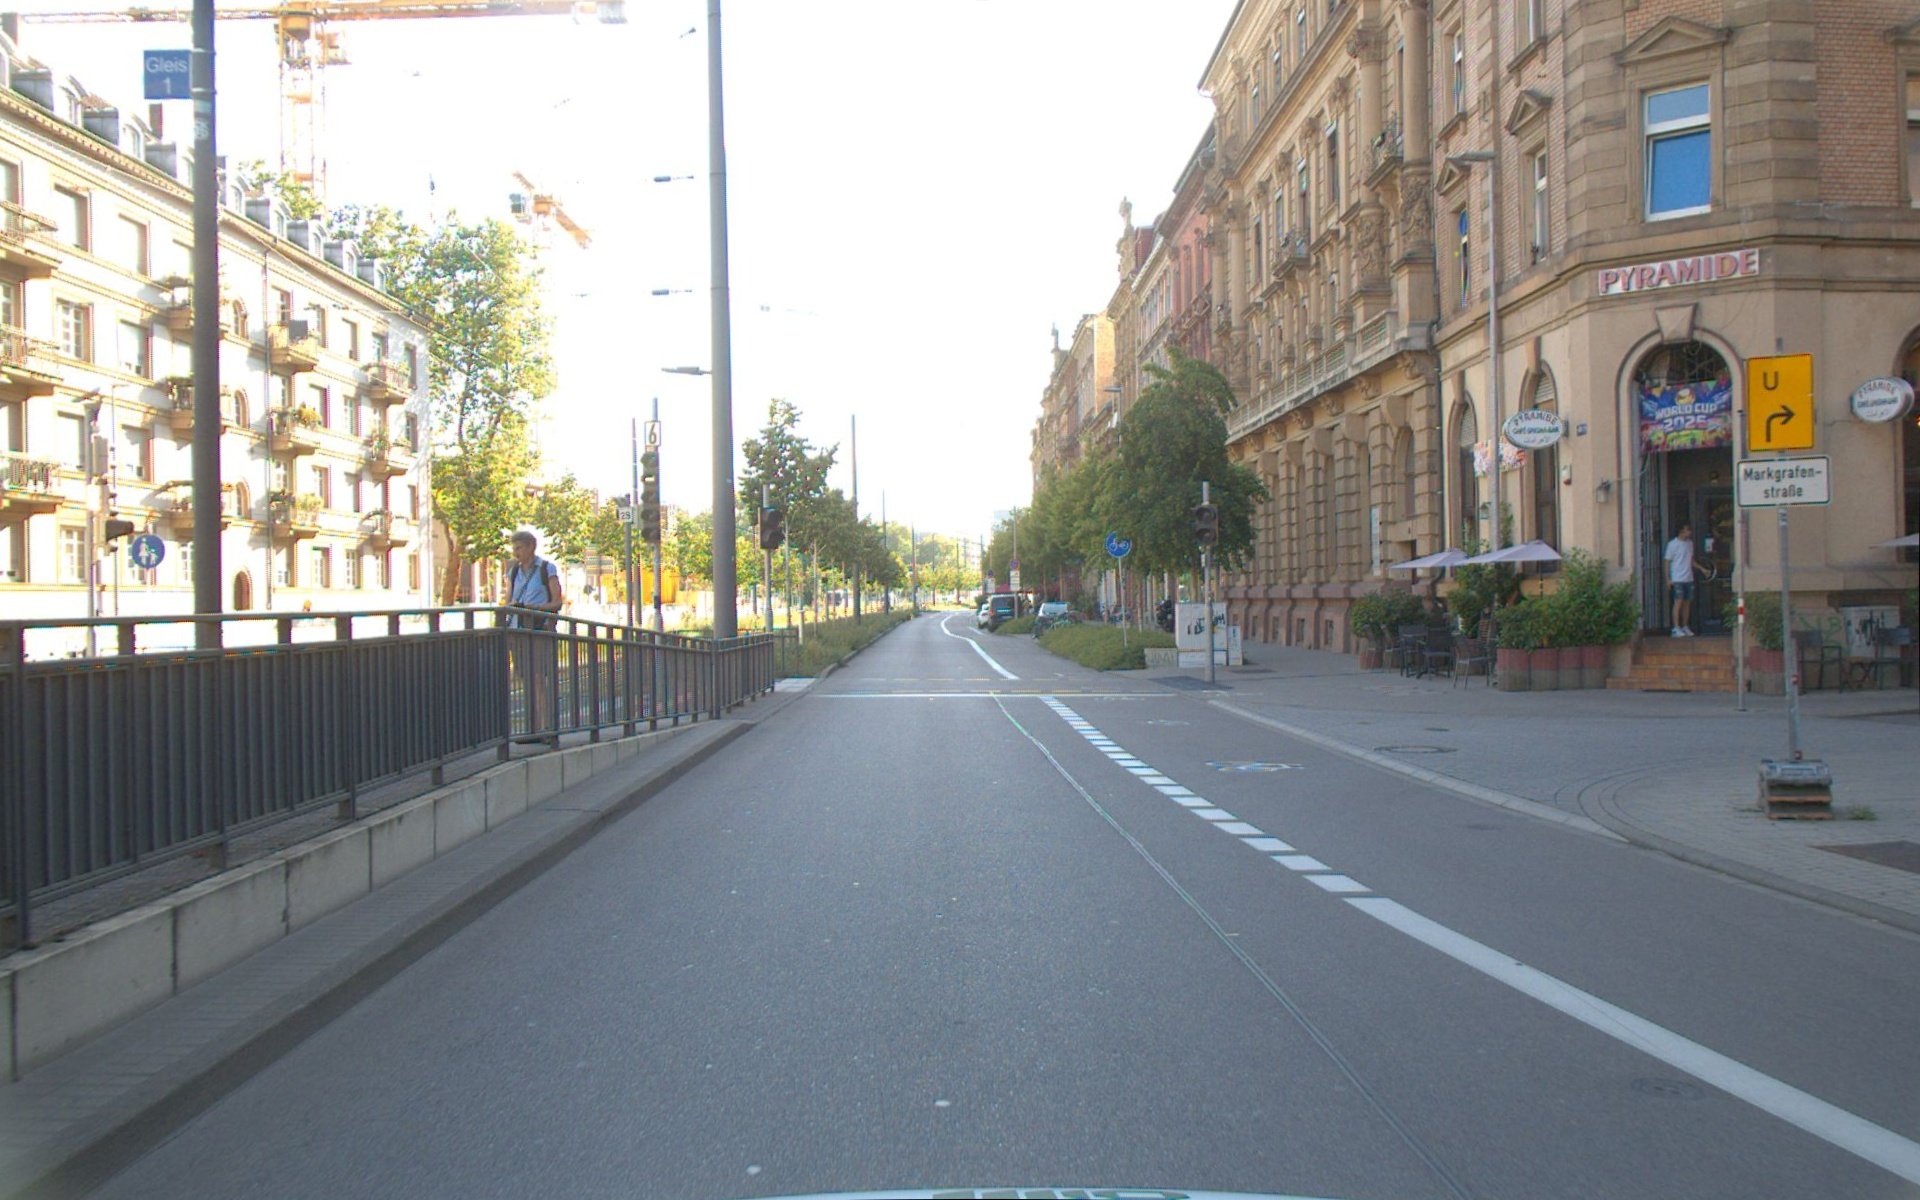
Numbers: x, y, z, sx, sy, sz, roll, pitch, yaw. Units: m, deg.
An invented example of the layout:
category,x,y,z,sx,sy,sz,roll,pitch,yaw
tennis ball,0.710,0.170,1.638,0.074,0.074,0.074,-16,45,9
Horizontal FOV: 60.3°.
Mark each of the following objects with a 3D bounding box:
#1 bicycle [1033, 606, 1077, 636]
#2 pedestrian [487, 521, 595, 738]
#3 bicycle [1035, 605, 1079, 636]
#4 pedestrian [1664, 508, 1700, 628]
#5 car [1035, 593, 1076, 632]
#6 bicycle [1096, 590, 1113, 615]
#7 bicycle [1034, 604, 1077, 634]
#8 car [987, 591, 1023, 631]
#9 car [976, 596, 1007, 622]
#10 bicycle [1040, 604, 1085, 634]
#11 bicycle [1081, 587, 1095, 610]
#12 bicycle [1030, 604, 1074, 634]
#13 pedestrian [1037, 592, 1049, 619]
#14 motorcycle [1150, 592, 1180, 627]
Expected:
category,x,y,z,sx,sy,sz,roll,pitch,yaw
bicycle,3.857,0.839,67.174,1.657,1.066,0.489,-5,0,-1
pedestrian,-3.350,0.234,13.269,0.641,1.671,0.867,-1,-1,-1
bicycle,3.688,0.773,62.931,1.547,1.066,0.488,-3,0,-9
pedestrian,10.916,-0.479,24.996,0.437,1.771,0.542,-1,0,27
car,4.169,0.508,72.755,1.603,1.511,4.213,-3,1,1
bicycle,8.360,0.132,95.834,0.647,1.427,2.352,-2,1,-2
bicycle,3.737,0.737,64.760,1.547,1.066,0.488,-3,0,-9
car,2.406,0.565,89.184,1.846,1.971,4.473,-2,1,0
car,1.935,0.558,102.782,1.811,1.483,4.157,-2,1,0
bicycle,3.977,0.740,64.228,1.660,1.066,0.488,-3,0,-9
bicycle,8.310,-0.080,107.211,0.647,1.427,2.352,-2,1,-2
bicycle,3.661,0.763,66.059,1.657,1.066,0.489,-4,0,-1
pedestrian,4.685,0.298,93.084,0.612,1.485,0.638,-1,0,-1
motorcycle,8.400,0.381,67.868,0.779,1.331,2.851,-3,1,-1
